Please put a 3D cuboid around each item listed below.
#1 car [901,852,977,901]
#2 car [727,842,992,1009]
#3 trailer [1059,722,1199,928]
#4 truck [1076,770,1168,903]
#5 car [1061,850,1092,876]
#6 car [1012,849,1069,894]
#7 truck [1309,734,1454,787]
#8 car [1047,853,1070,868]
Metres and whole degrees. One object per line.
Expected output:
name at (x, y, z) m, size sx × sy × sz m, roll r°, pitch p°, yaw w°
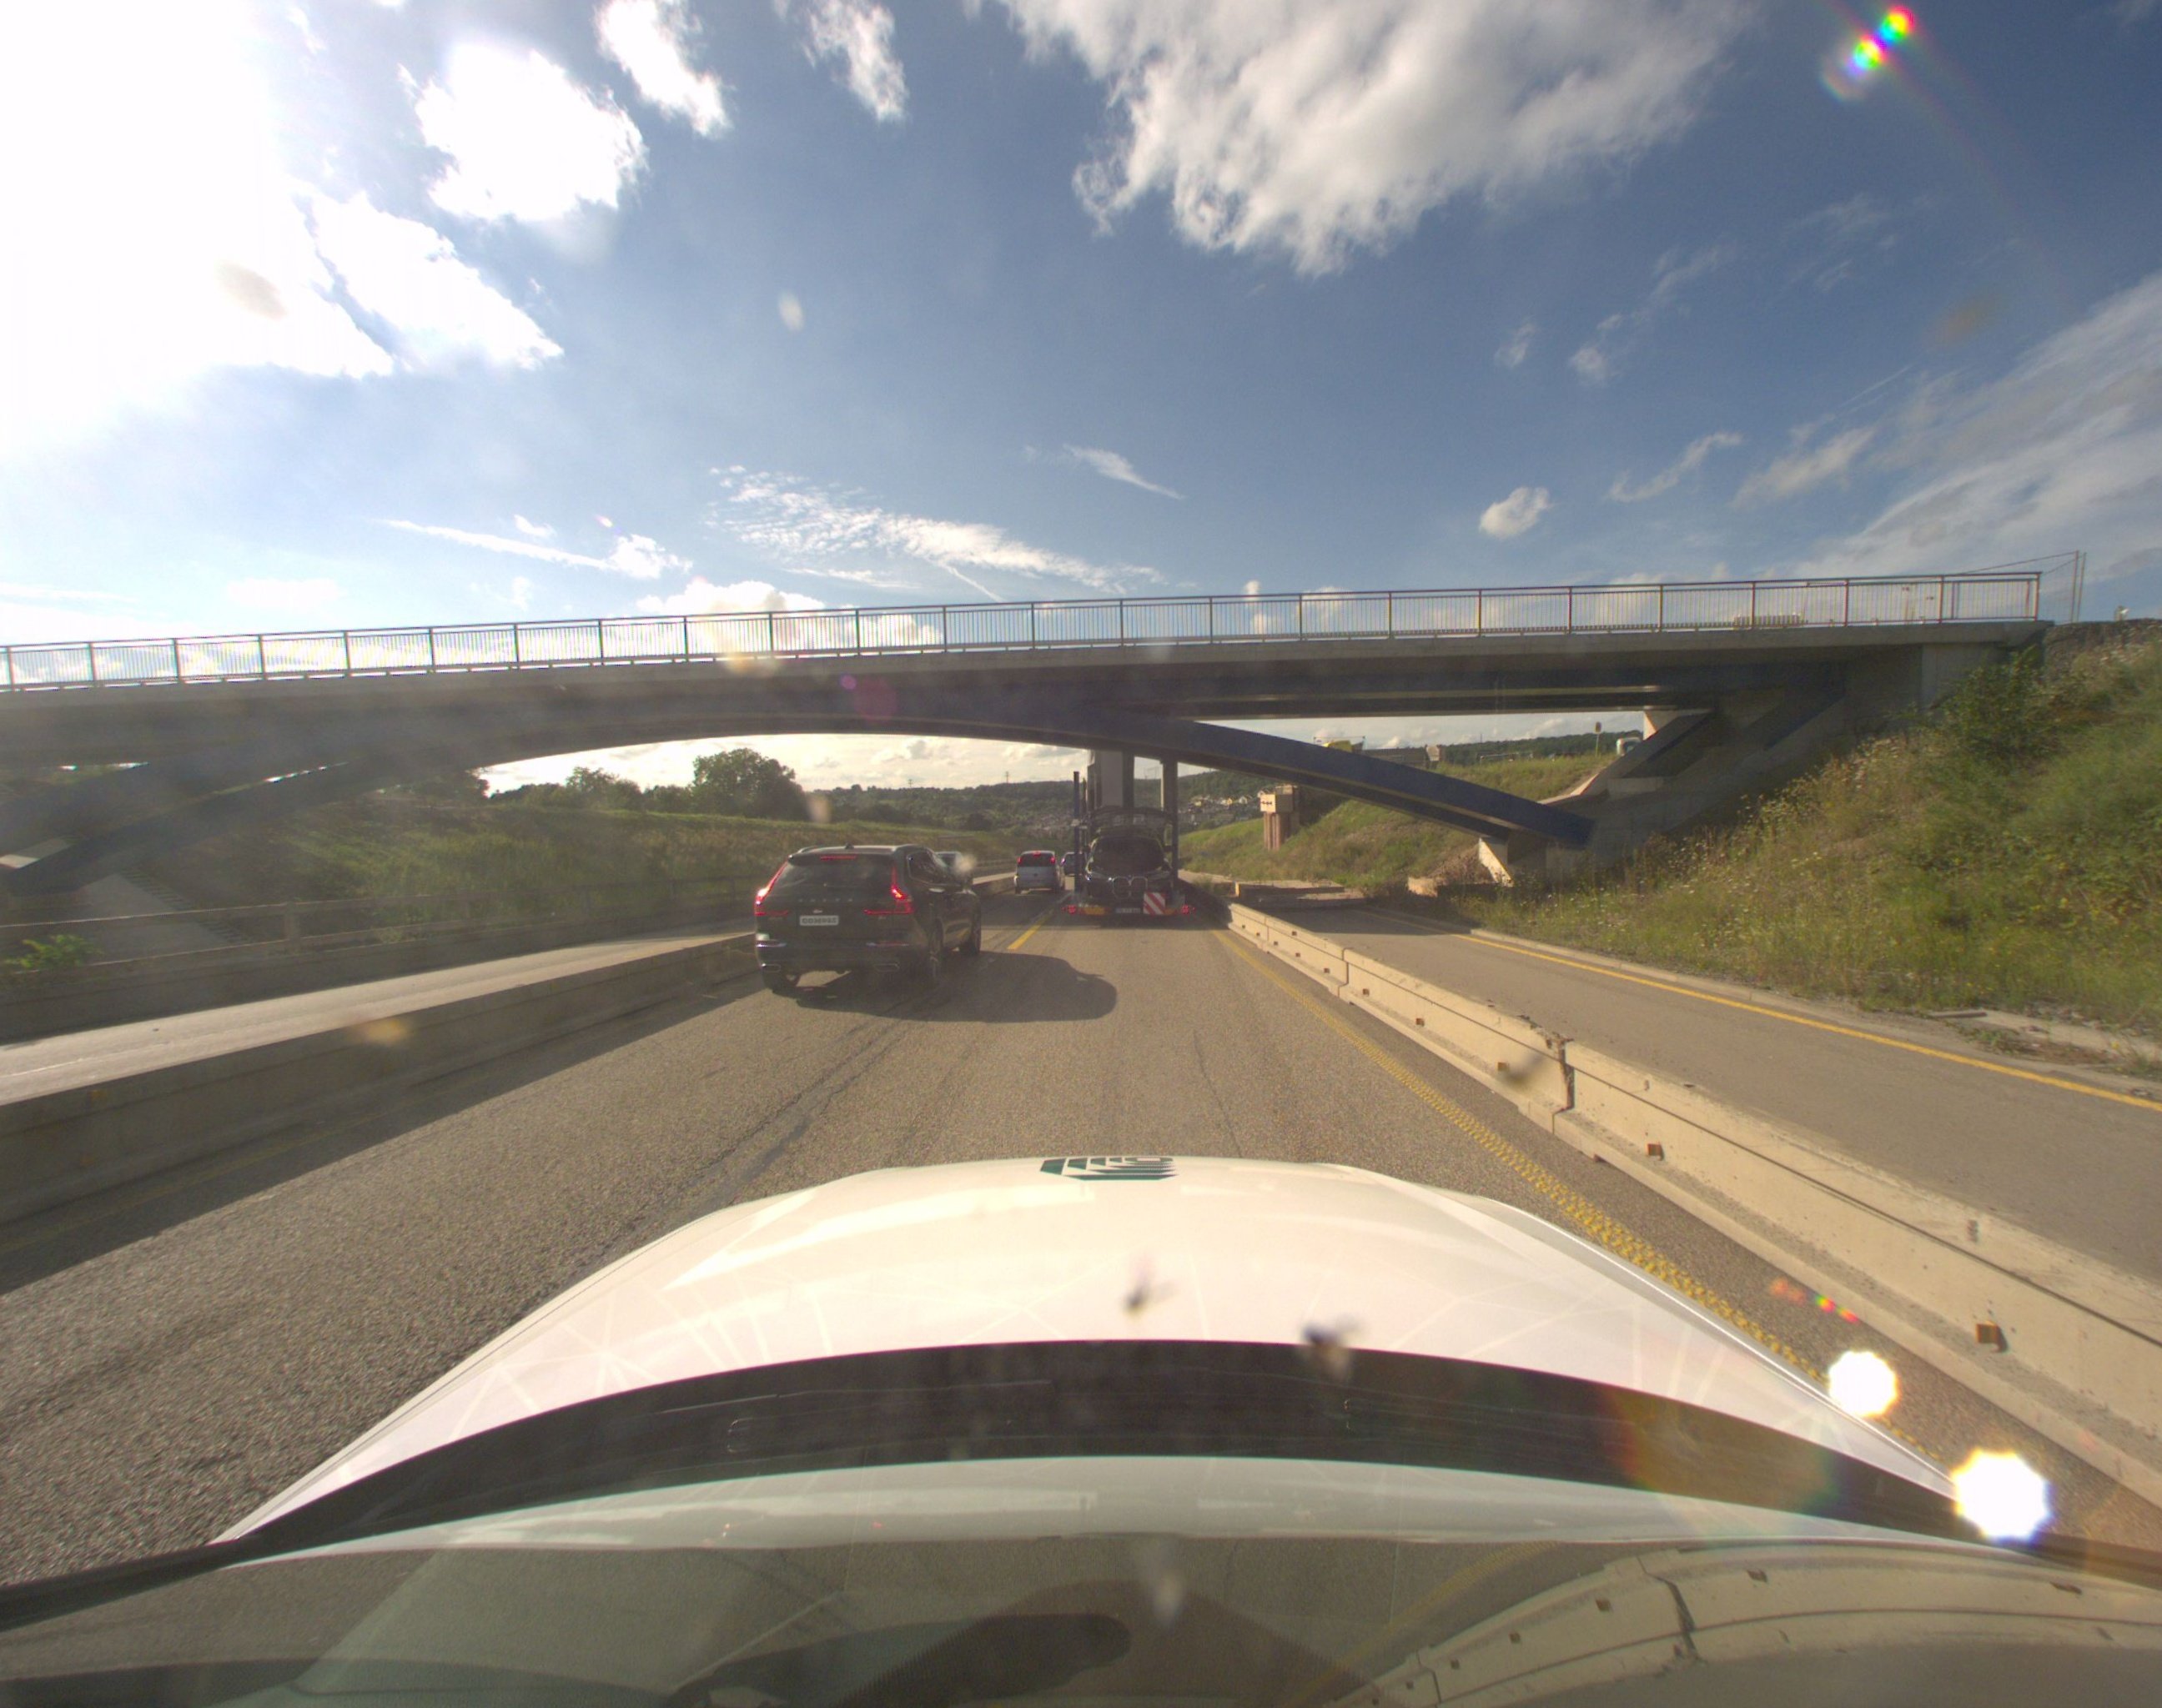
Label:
car at (-5.153, 0.769, 30.045) m, size 1.816 × 1.563 × 4.220 m, roll -4°, pitch 0°, yaw 2°
car at (-2.483, 0.703, 10.551) m, size 1.986 × 1.625 × 4.751 m, roll -1°, pitch 0°, yaw 1°
trailer at (1.168, -0.576, 21.851) m, size 2.697 × 4.029 × 11.425 m, roll -1°, pitch 0°, yaw 2°
truck at (1.377, -0.522, 27.447) m, size 2.667 × 3.922 × 6.032 m, roll -1°, pitch 0°, yaw 3°
car at (-0.266, 0.550, 52.738) m, size 1.789 × 1.530 × 4.297 m, roll -1°, pitch 0°, yaw 2°
car at (-1.492, 0.615, 31.736) m, size 1.789 × 1.596 × 4.745 m, roll -1°, pitch 0°, yaw 2°
truck at (21.366, -6.633, 58.323) m, size 9.227 × 3.228 × 2.961 m, roll -1°, pitch 0°, yaw 2°
car at (-1.965, 0.521, 72.427) m, size 1.662 × 1.155 × 4.221 m, roll -4°, pitch 0°, yaw 3°
